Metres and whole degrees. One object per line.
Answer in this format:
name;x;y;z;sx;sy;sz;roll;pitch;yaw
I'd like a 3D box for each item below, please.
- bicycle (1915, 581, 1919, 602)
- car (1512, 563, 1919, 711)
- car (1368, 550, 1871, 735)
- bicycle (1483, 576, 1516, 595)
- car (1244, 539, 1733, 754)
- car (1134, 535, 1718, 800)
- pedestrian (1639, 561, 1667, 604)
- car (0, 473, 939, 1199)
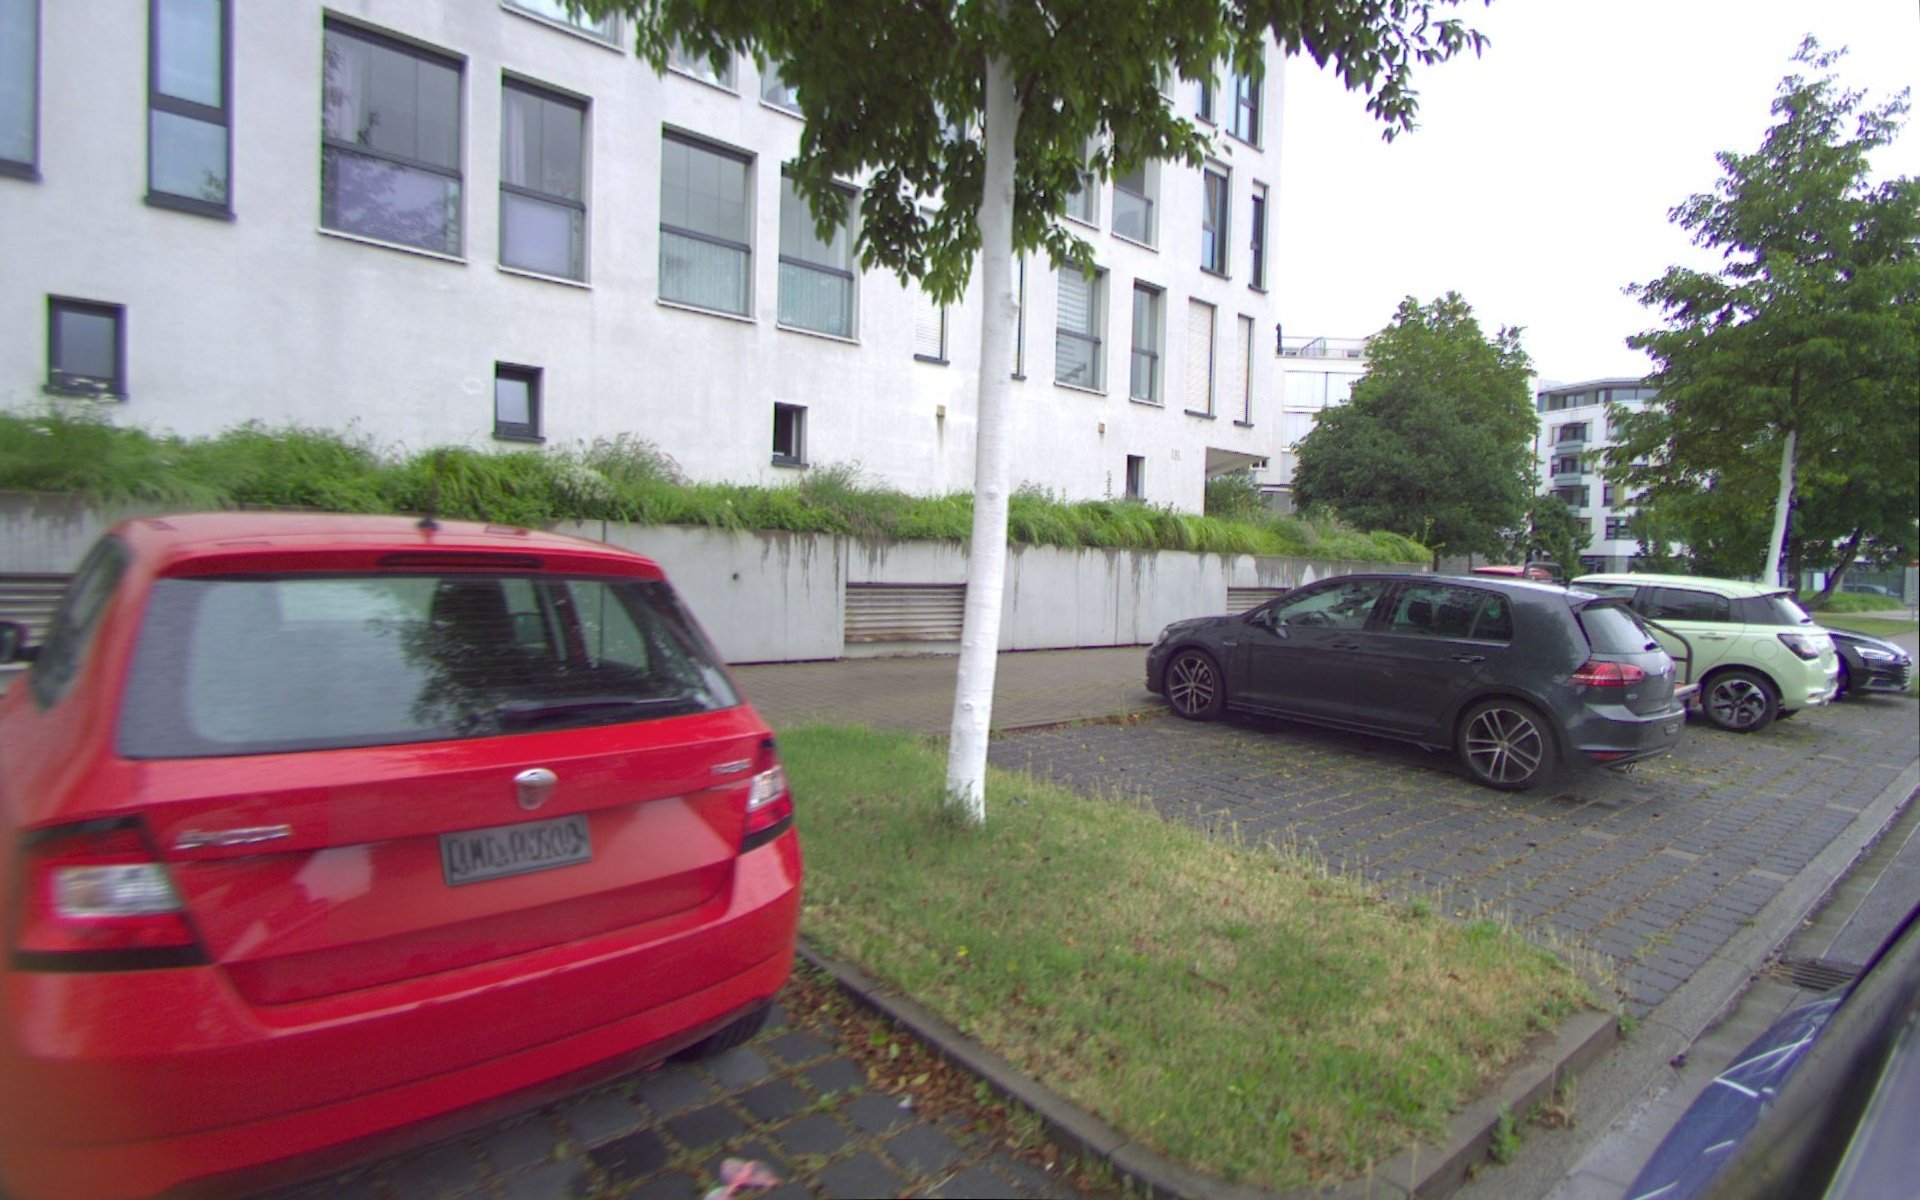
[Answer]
bicycle;71.198;-0.596;73.727;0.617;1.541;2.200;1;3;-20
car;10.709;0.370;14.444;1.794;1.514;4.581;-1;5;-41
car;7.292;0.308;11.642;1.662;1.498;4.499;0;5;-41
bicycle;34.115;-0.920;64.033;0.712;1.101;2.485;2;2;0
car;5.083;0.282;10.219;1.606;1.574;3.998;0;5;-40
car;3.524;0.321;8.252;1.565;1.491;3.964;-1;5;-43
pedestrian;33.840;-0.853;49.419;0.612;2.038;0.967;0;2;-40
car;-2.045;0.383;3.391;1.790;1.468;3.996;-2;6;-41
